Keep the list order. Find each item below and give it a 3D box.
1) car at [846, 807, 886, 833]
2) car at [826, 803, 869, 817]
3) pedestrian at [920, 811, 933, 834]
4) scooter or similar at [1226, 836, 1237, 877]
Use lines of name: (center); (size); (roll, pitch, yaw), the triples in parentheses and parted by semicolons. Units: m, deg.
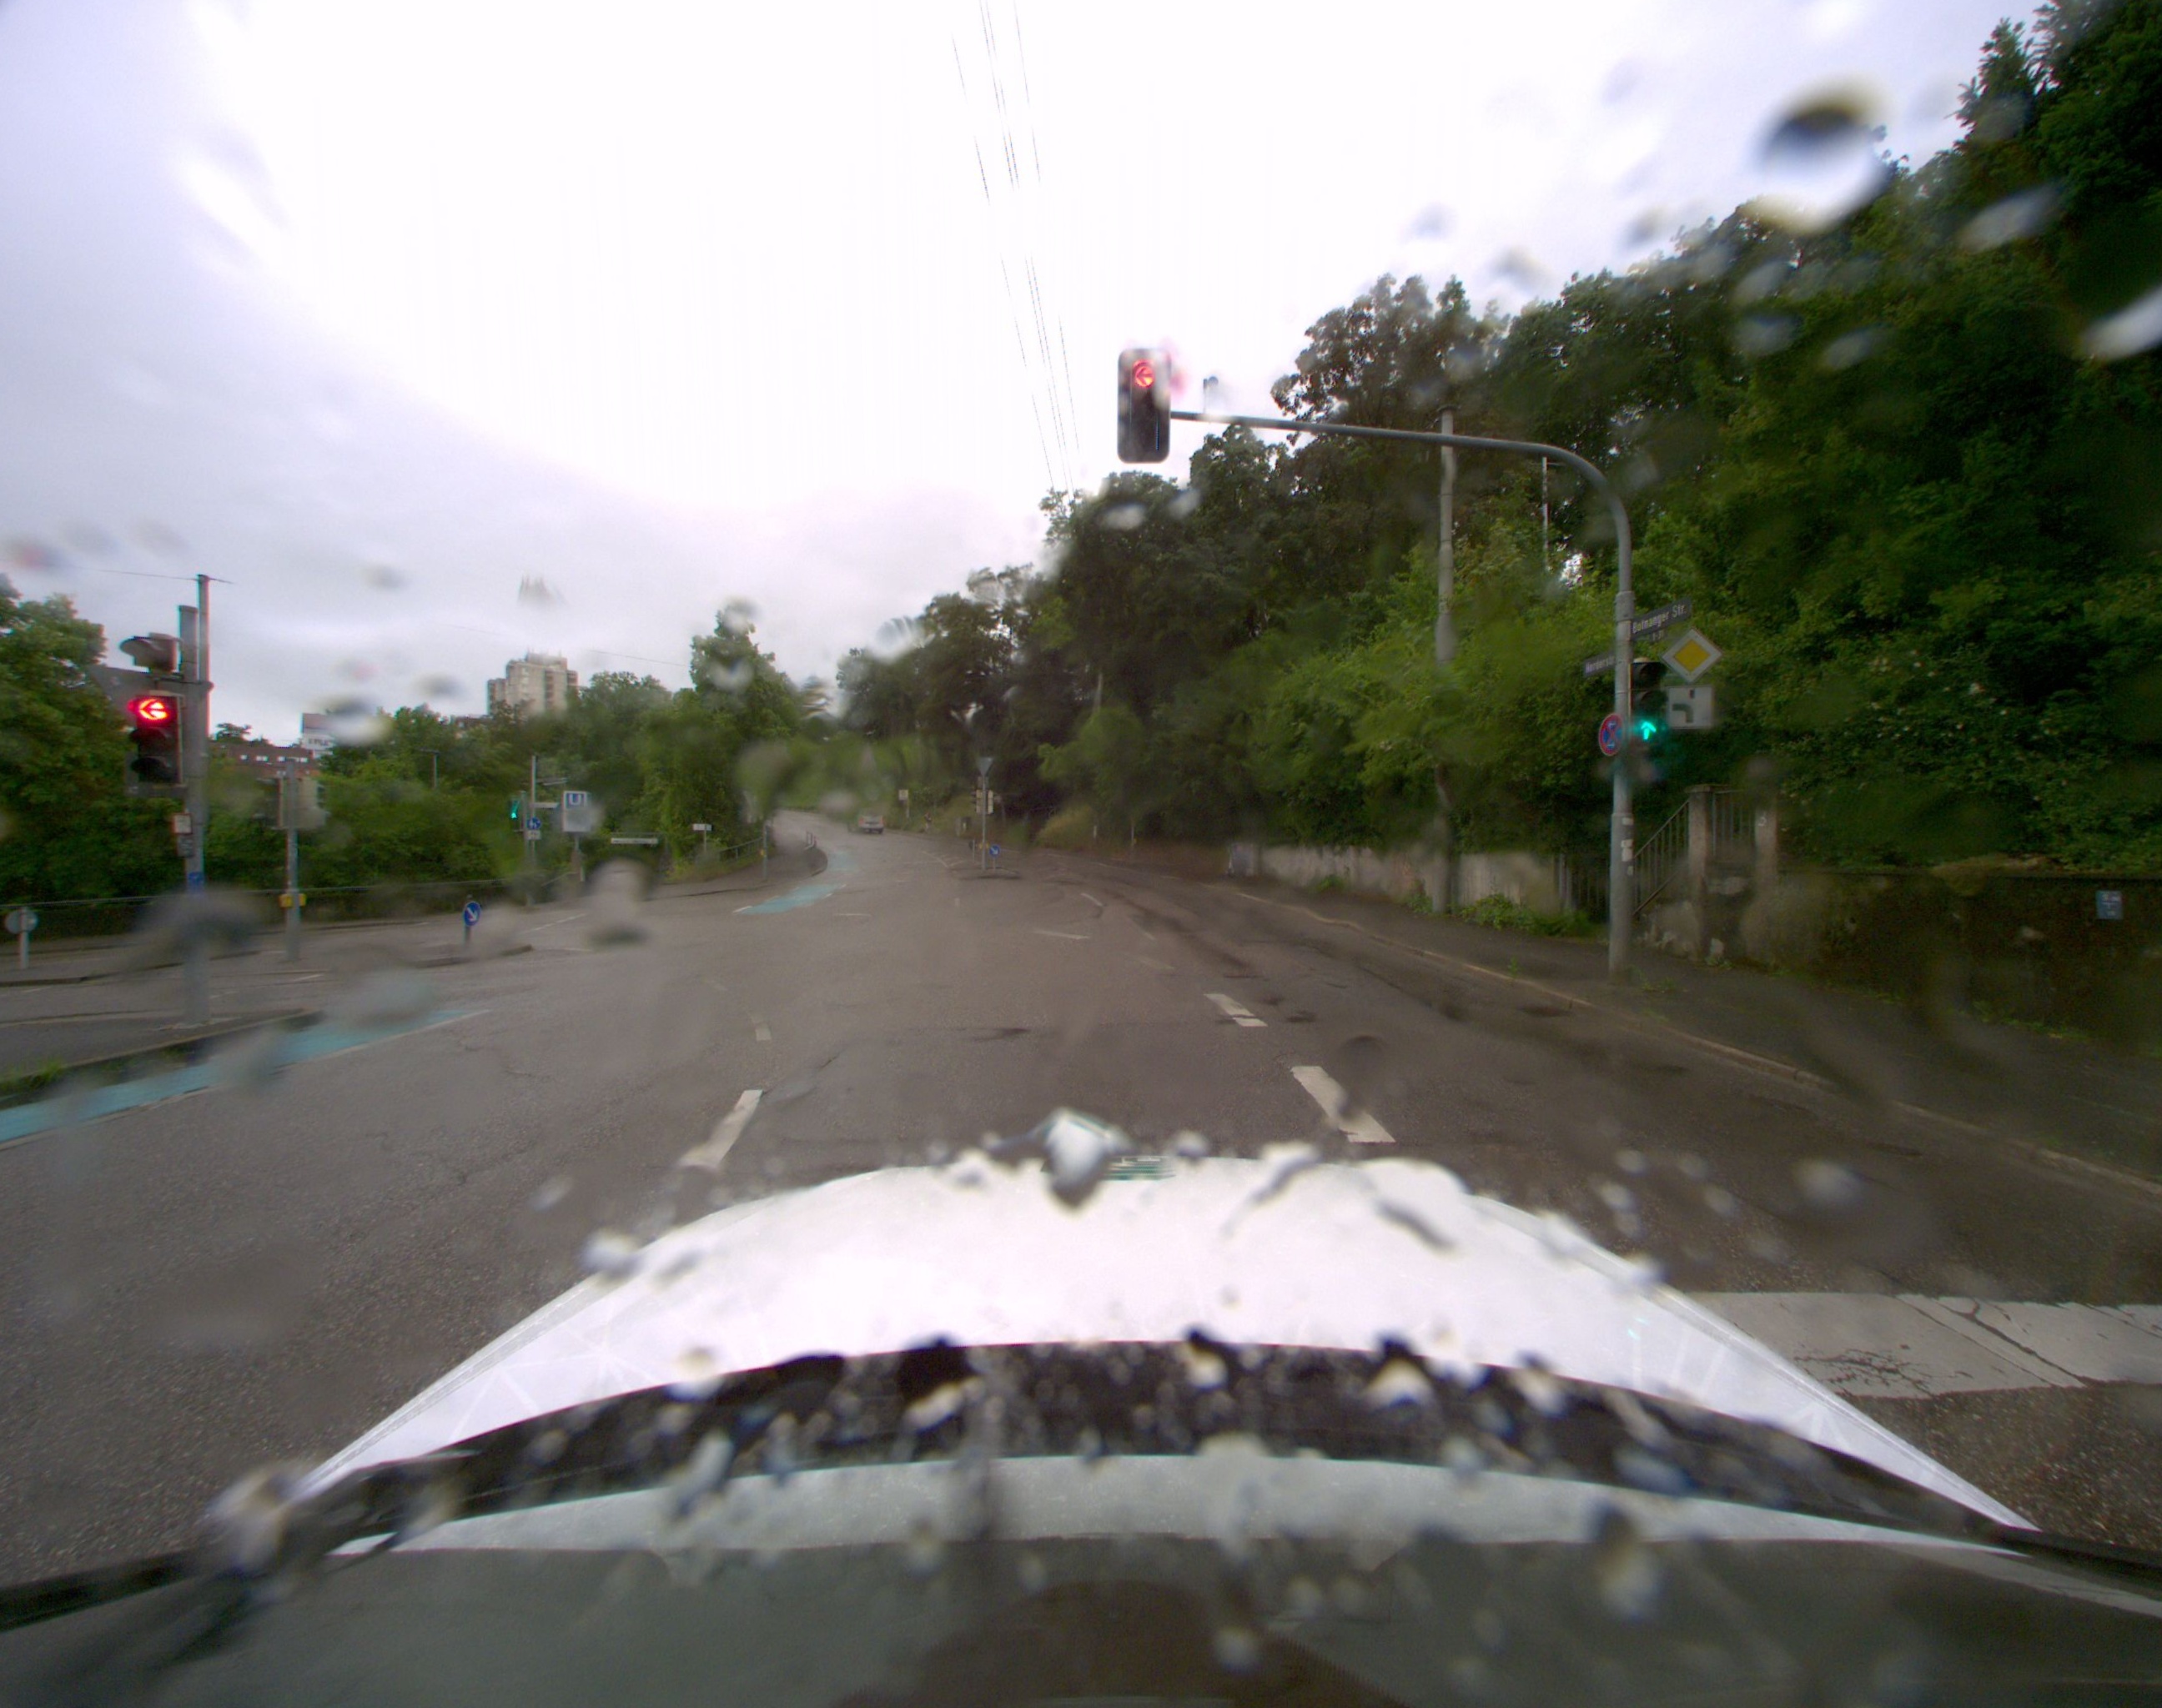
car: (-17.482, -2.740, 66.102); (2.078, 2.006, 4.772); (-1, 1, -28)
car: (-27.141, -5.086, 94.684); (4.357, 1.511, 1.971); (1, 3, 15)
pedestrian: (-11.769, -2.415, 62.117); (0.882, 1.736, 0.861); (0, -1, -15)
scooter or similar: (4.904, 0.065, 26.498); (0.320, 1.279, 0.754); (-1, 2, 10)
